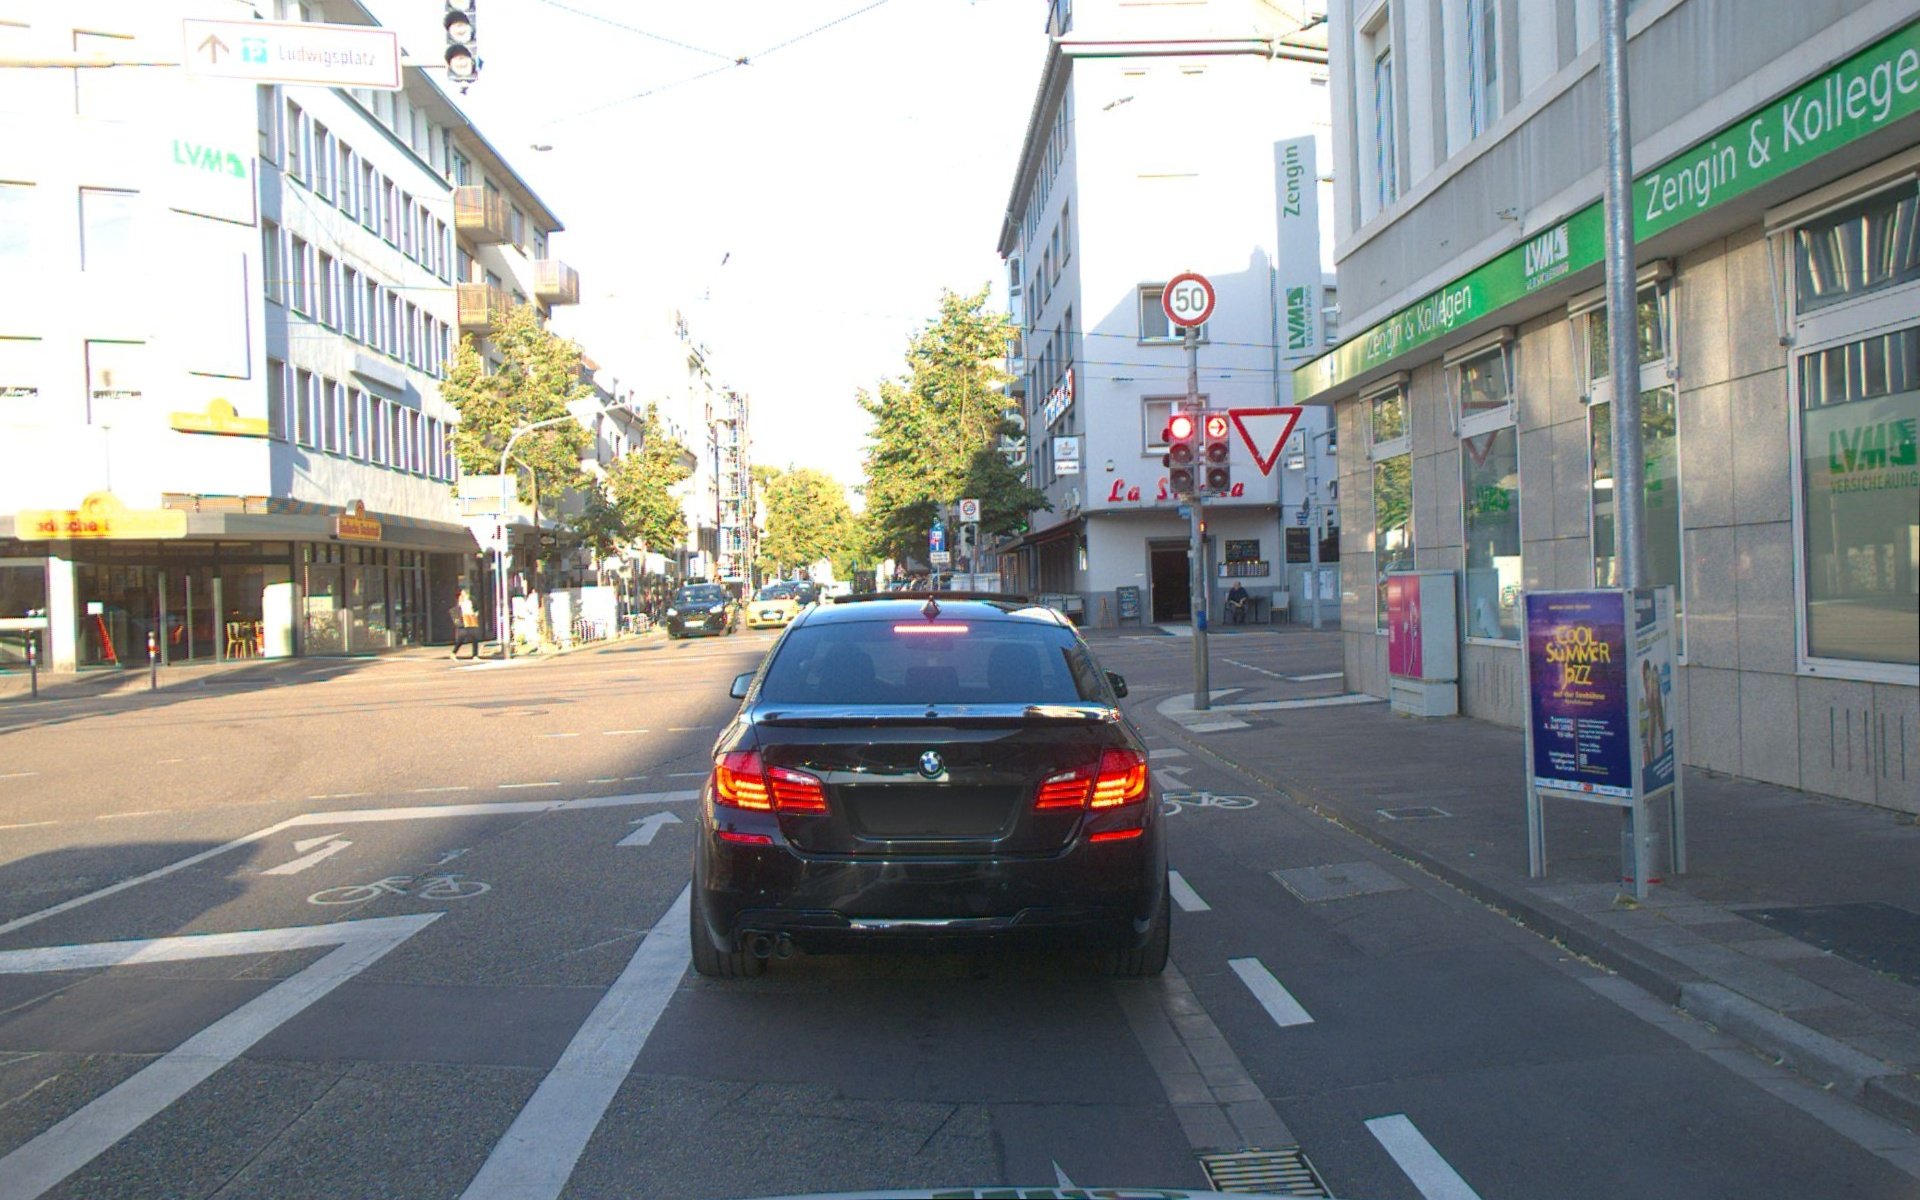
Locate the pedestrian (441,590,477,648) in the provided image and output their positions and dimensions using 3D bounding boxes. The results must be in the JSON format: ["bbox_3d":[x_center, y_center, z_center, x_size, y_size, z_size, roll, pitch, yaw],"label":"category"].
[{"bbox_3d":[-15.159,0.557,50.034,0.807,1.705,0.871,-2,0,-3],"label":"pedestrian"}]

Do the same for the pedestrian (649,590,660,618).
[{"bbox_3d":[-15.834,0.187,85.742,0.435,1.441,0.525,-2,0,-4],"label":"pedestrian"}]

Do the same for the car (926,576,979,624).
[{"bbox_3d":[-0.272,-0.002,54.585,1.593,1.497,3.393,-1,0,-3],"label":"car"}]

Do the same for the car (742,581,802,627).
[{"bbox_3d":[-6.574,0.117,57.562,1.956,1.467,3.993,-2,1,-8],"label":"car"}]

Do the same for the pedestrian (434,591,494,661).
[{"bbox_3d":[-11.523,0.604,38.420,0.890,1.564,0.945,-2,0,35],"label":"pedestrian"}]

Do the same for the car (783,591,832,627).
[{"bbox_3d":[-5.942,0.327,64.336,1.701,1.315,3.993,-2,1,-8],"label":"car"}]

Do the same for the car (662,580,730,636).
[{"bbox_3d":[-8.268,0.230,52.100,1.956,1.646,3.993,-2,1,-8],"label":"car"}]

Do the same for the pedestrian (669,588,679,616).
[{"bbox_3d":[-14.840,0.105,85.869,0.435,1.441,0.525,-2,0,-4],"label":"pedestrian"}]

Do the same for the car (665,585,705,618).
[{"bbox_3d":[-13.065,0.045,78.810,1.701,1.487,3.993,-2,1,-8],"label":"car"}]

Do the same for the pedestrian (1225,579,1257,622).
[{"bbox_3d":[7.878,0.019,46.434,0.683,1.177,0.843,-2,0,-4],"label":"pedestrian"}]

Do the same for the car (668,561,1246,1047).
[{"bbox_3d":[-0.118,0.642,7.606,1.865,1.567,4.447,1,1,-3],"label":"car"}]

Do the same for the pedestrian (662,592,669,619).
[{"bbox_3d":[-15.289,0.289,85.933,0.301,1.383,0.284,-2,0,-11],"label":"pedestrian"}]

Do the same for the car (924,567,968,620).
[{"bbox_3d":[-0.537,-0.221,60.980,1.393,1.887,3.049,-1,0,-5],"label":"car"}]
